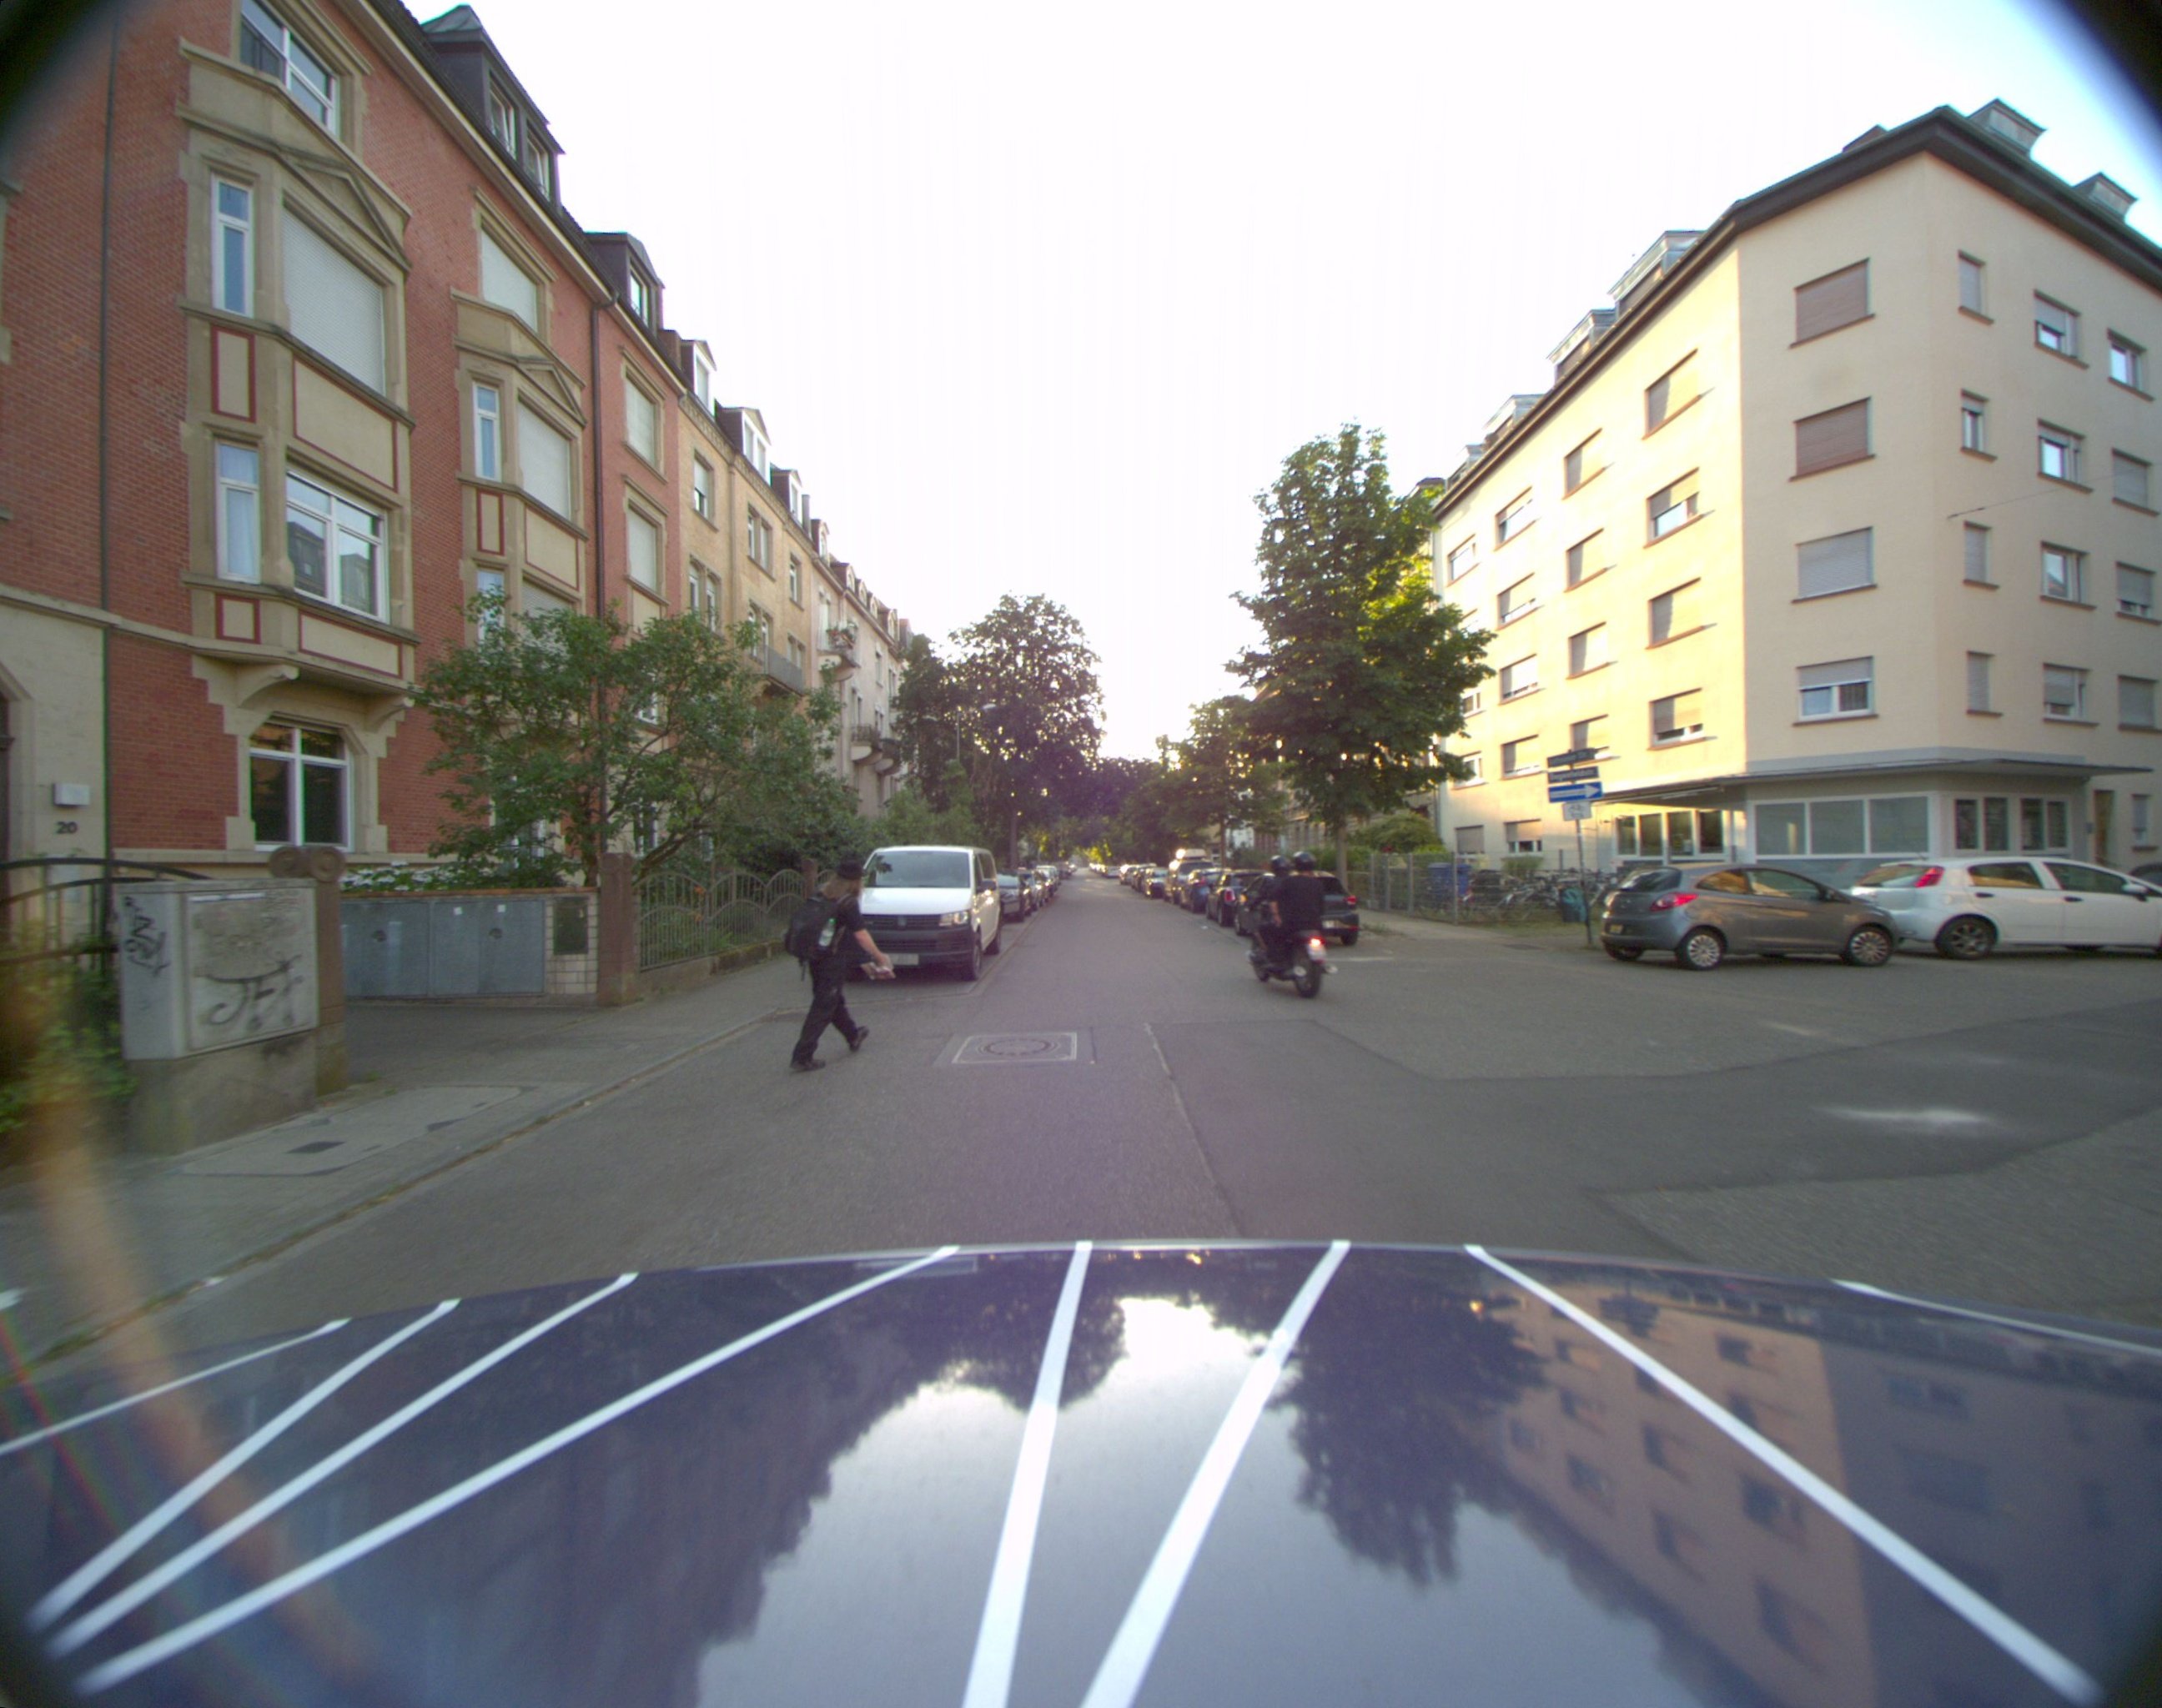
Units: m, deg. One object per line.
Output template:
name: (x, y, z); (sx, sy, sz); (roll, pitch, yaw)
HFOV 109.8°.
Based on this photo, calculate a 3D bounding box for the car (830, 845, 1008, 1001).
car: (-2.377, 0.924, 12.702); (1.866, 2.027, 5.544); (0, 0, -1)

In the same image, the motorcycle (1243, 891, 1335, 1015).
motorcycle: (2.442, 1.109, 9.164); (0.848, 1.202, 2.076); (1, 0, 10)

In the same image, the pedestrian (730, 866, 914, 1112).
pedestrian: (-2.032, 0.982, 6.024); (0.889, 1.712, 0.960); (-3, 0, 33)

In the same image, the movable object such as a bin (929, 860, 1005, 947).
movable object such as a bin: (-2.595, 1.081, 17.702); (1.415, 1.867, 2.325); (1, 0, 0)

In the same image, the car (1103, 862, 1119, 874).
car: (4.034, 1.878, 102.458); (1.840, 1.484, 3.641); (-2, 0, 0)

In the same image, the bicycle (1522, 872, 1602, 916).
bicycle: (12.505, 1.022, 19.814); (0.386, 1.085, 1.707); (-3, 0, -36)

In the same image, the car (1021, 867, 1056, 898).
car: (-2.271, 1.507, 41.333); (1.737, 1.498, 4.163); (-2, 0, -2)

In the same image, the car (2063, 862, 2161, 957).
car: (18.539, 0.840, 12.226); (4.082, 1.430, 1.996); (-1, -1, -16)

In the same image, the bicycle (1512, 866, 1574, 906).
bicycle: (13.700, 0.942, 22.525); (1.548, 1.085, 0.500); (-3, 0, -6)

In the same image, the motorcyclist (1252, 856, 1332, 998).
motorcyclist: (2.363, 0.795, 8.582); (0.789, 1.531, 0.546); (1, 1, 10)

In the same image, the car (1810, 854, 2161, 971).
car: (14.160, 0.842, 11.488); (4.066, 1.499, 1.975); (-3, 0, 12)

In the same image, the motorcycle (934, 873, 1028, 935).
motorcycle: (-2.577, 1.257, 19.648); (2.099, 1.473, 1.130); (1, 0, -33)

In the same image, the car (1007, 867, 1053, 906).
car: (-2.204, 1.402, 33.468); (1.590, 1.516, 3.603); (-3, 0, 2)

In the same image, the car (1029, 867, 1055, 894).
car: (-2.368, 1.565, 46.547); (1.479, 1.498, 3.929); (-2, 0, -2)

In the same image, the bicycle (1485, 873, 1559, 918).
bicycle: (11.395, 1.062, 19.674); (0.502, 1.085, 1.545); (-3, 0, -37)

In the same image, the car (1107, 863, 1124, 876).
car: (4.372, 1.936, 96.818); (1.953, 1.484, 3.738); (-2, 0, 0)

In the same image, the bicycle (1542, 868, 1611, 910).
bicycle: (13.904, 0.966, 21.326); (1.635, 1.085, 0.500); (-3, 0, -6)

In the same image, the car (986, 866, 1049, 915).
car: (-2.320, 1.316, 28.970); (1.761, 1.573, 4.843); (-3, 0, 2)

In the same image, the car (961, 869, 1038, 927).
car: (-2.445, 1.290, 23.718); (1.724, 1.542, 4.326); (-2, 0, 2)

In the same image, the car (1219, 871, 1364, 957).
car: (4.267, 1.149, 16.130); (1.679, 1.453, 4.463); (-2, 0, -2)

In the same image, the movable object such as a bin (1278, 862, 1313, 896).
movable object such as a bin: (9.200, 1.059, 32.639); (0.948, 1.379, 1.551); (-3, 0, -3)

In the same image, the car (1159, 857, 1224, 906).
car: (4.427, 1.052, 31.034); (1.866, 1.768, 4.623); (-2, 0, -1)

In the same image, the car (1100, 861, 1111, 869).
car: (4.684, 2.090, 146.537); (1.840, 1.484, 3.641); (-2, 0, 0)

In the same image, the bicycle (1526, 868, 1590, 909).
bicycle: (13.784, 1.000, 21.949); (1.548, 1.085, 0.500); (-3, 0, -6)

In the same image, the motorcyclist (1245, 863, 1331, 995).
motorcyclist: (2.514, 0.876, 9.335); (0.891, 1.496, 0.970); (1, 0, 10)

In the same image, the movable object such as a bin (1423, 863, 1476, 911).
movable object such as a bin: (10.884, 0.955, 22.514); (0.868, 1.344, 1.398); (-3, 0, 2)

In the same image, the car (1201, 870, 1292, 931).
car: (4.435, 1.201, 20.956); (1.746, 1.412, 4.143); (-2, 0, 2)

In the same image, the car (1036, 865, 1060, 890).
car: (-2.209, 1.558, 50.950); (1.502, 1.538, 3.338); (-2, 0, -2)

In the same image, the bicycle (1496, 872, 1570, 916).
bicycle: (11.840, 1.037, 19.946); (0.502, 1.085, 1.545); (-3, 0, -38)

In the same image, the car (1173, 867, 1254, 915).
car: (4.439, 1.205, 26.113); (1.866, 1.404, 4.590); (-2, 0, -1)

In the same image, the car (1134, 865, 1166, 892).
car: (4.156, 1.444, 46.274); (1.682, 1.489, 3.626); (-2, 0, 2)

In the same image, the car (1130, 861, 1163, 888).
car: (4.408, 1.369, 51.580); (1.866, 1.653, 4.021); (-2, 0, 1)

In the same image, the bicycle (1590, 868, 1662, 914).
bicycle: (14.126, 0.946, 19.705); (1.548, 1.085, 0.500); (-3, 0, -6)

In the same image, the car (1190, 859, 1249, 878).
car: (11.017, 1.162, 60.739); (4.413, 1.333, 1.626); (-2, 0, 1)

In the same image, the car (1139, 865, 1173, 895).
car: (4.119, 1.400, 42.083); (1.441, 1.485, 3.298); (-2, 0, -2)

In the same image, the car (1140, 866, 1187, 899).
car: (4.008, 1.347, 37.364); (1.733, 1.433, 4.024); (-2, 0, -2)

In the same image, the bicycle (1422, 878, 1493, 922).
bicycle: (9.683, 1.160, 19.631); (0.689, 1.019, 1.931); (-3, 0, -6)

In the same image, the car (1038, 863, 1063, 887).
car: (-2.225, 1.531, 56.574); (1.737, 1.691, 4.168); (-2, 0, -2)

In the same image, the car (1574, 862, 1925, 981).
car: (9.637, 0.925, 11.191); (3.515, 1.498, 1.845); (-2, -1, -1)

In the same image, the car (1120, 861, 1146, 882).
car: (4.310, 1.458, 63.139); (1.677, 1.627, 3.940); (-2, 0, -3)
